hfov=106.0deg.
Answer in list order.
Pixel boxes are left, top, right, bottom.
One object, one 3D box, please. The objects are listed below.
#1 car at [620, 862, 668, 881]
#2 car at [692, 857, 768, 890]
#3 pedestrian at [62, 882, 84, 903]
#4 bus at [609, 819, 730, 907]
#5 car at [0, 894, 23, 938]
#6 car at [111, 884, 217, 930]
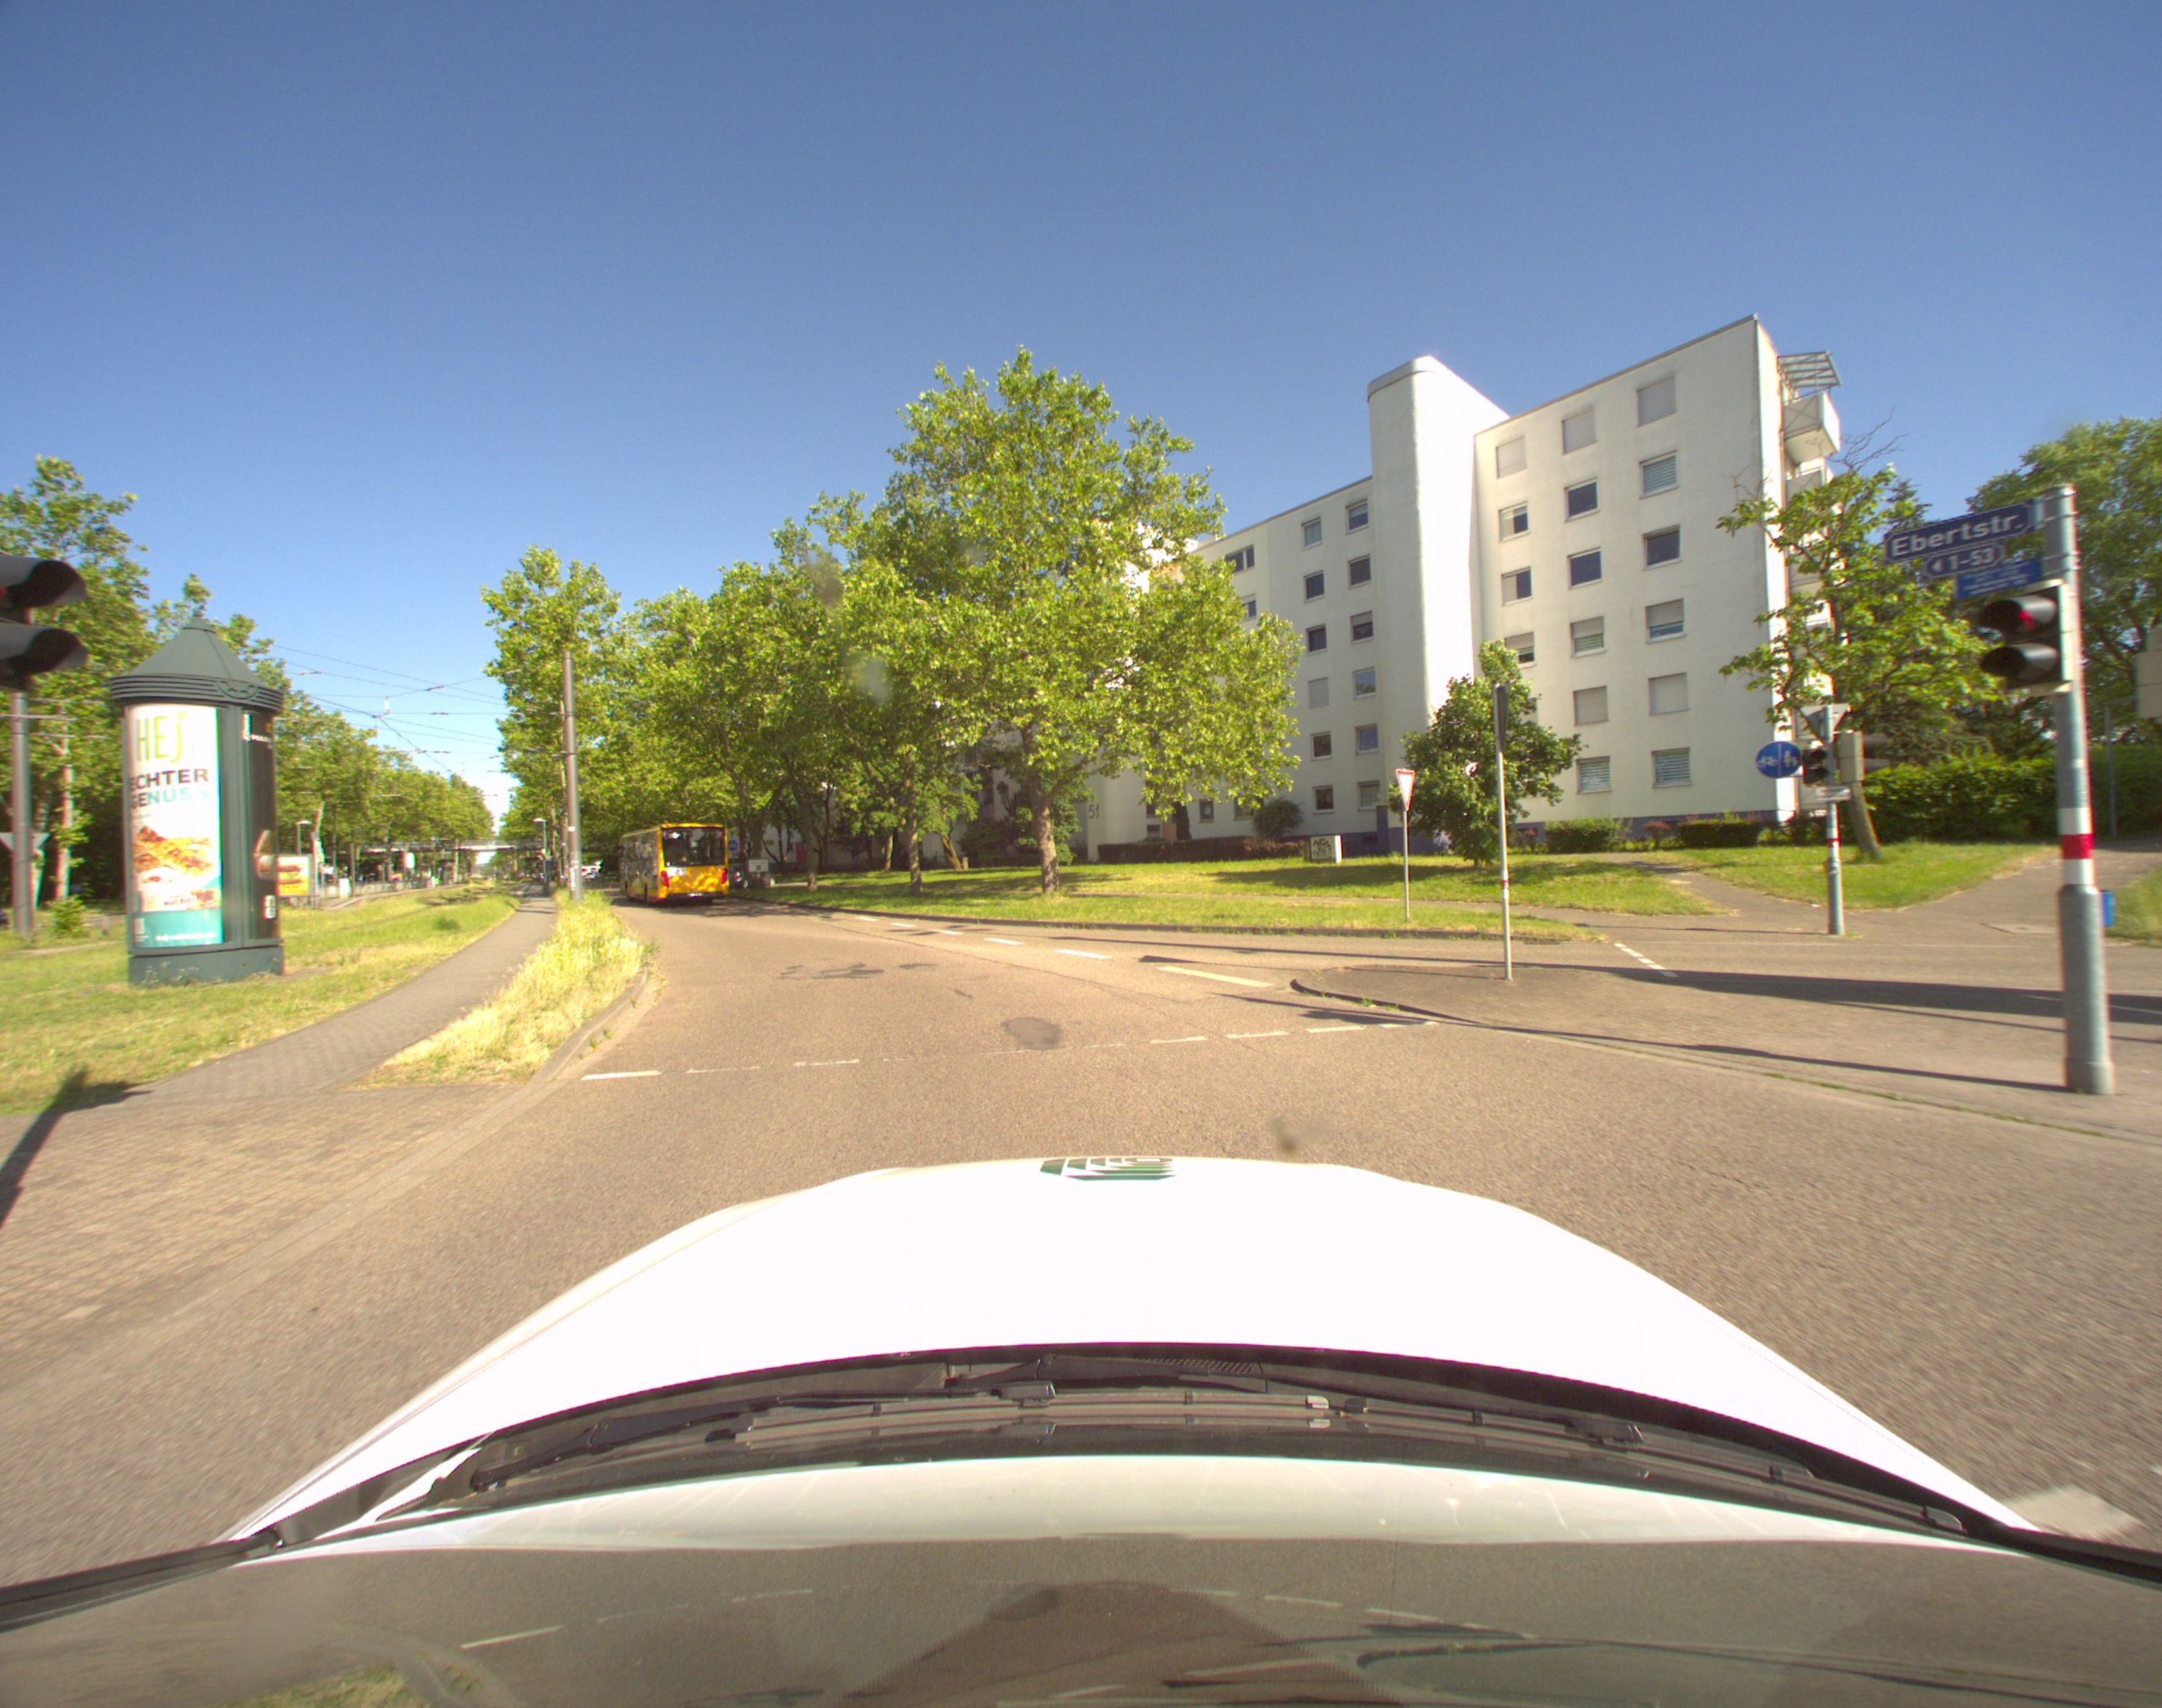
[{"bbox_3d":[-50.074,1.957,93.354,4.309,1.983,1.942,-2,0,2],"label":"car"},{"bbox_3d":[-21.288,1.174,49.468,3.905,1.817,1.660,-2,1,8],"label":"car"},{"bbox_3d":[-77.058,2.930,62.274,0.688,1.556,0.982,-2,-3,-26],"label":"pedestrian"},{"bbox_3d":[-18.497,0.304,36.007,2.667,3.261,12.397,-2,1,-36],"label":"bus"},{"bbox_3d":[-38.415,2.253,27.367,1.923,1.496,3.964,-2,1,-28],"label":"car"},{"bbox_3d":[-43.153,2.424,38.466,1.863,1.800,3.966,-2,1,-26],"label":"car"}]
